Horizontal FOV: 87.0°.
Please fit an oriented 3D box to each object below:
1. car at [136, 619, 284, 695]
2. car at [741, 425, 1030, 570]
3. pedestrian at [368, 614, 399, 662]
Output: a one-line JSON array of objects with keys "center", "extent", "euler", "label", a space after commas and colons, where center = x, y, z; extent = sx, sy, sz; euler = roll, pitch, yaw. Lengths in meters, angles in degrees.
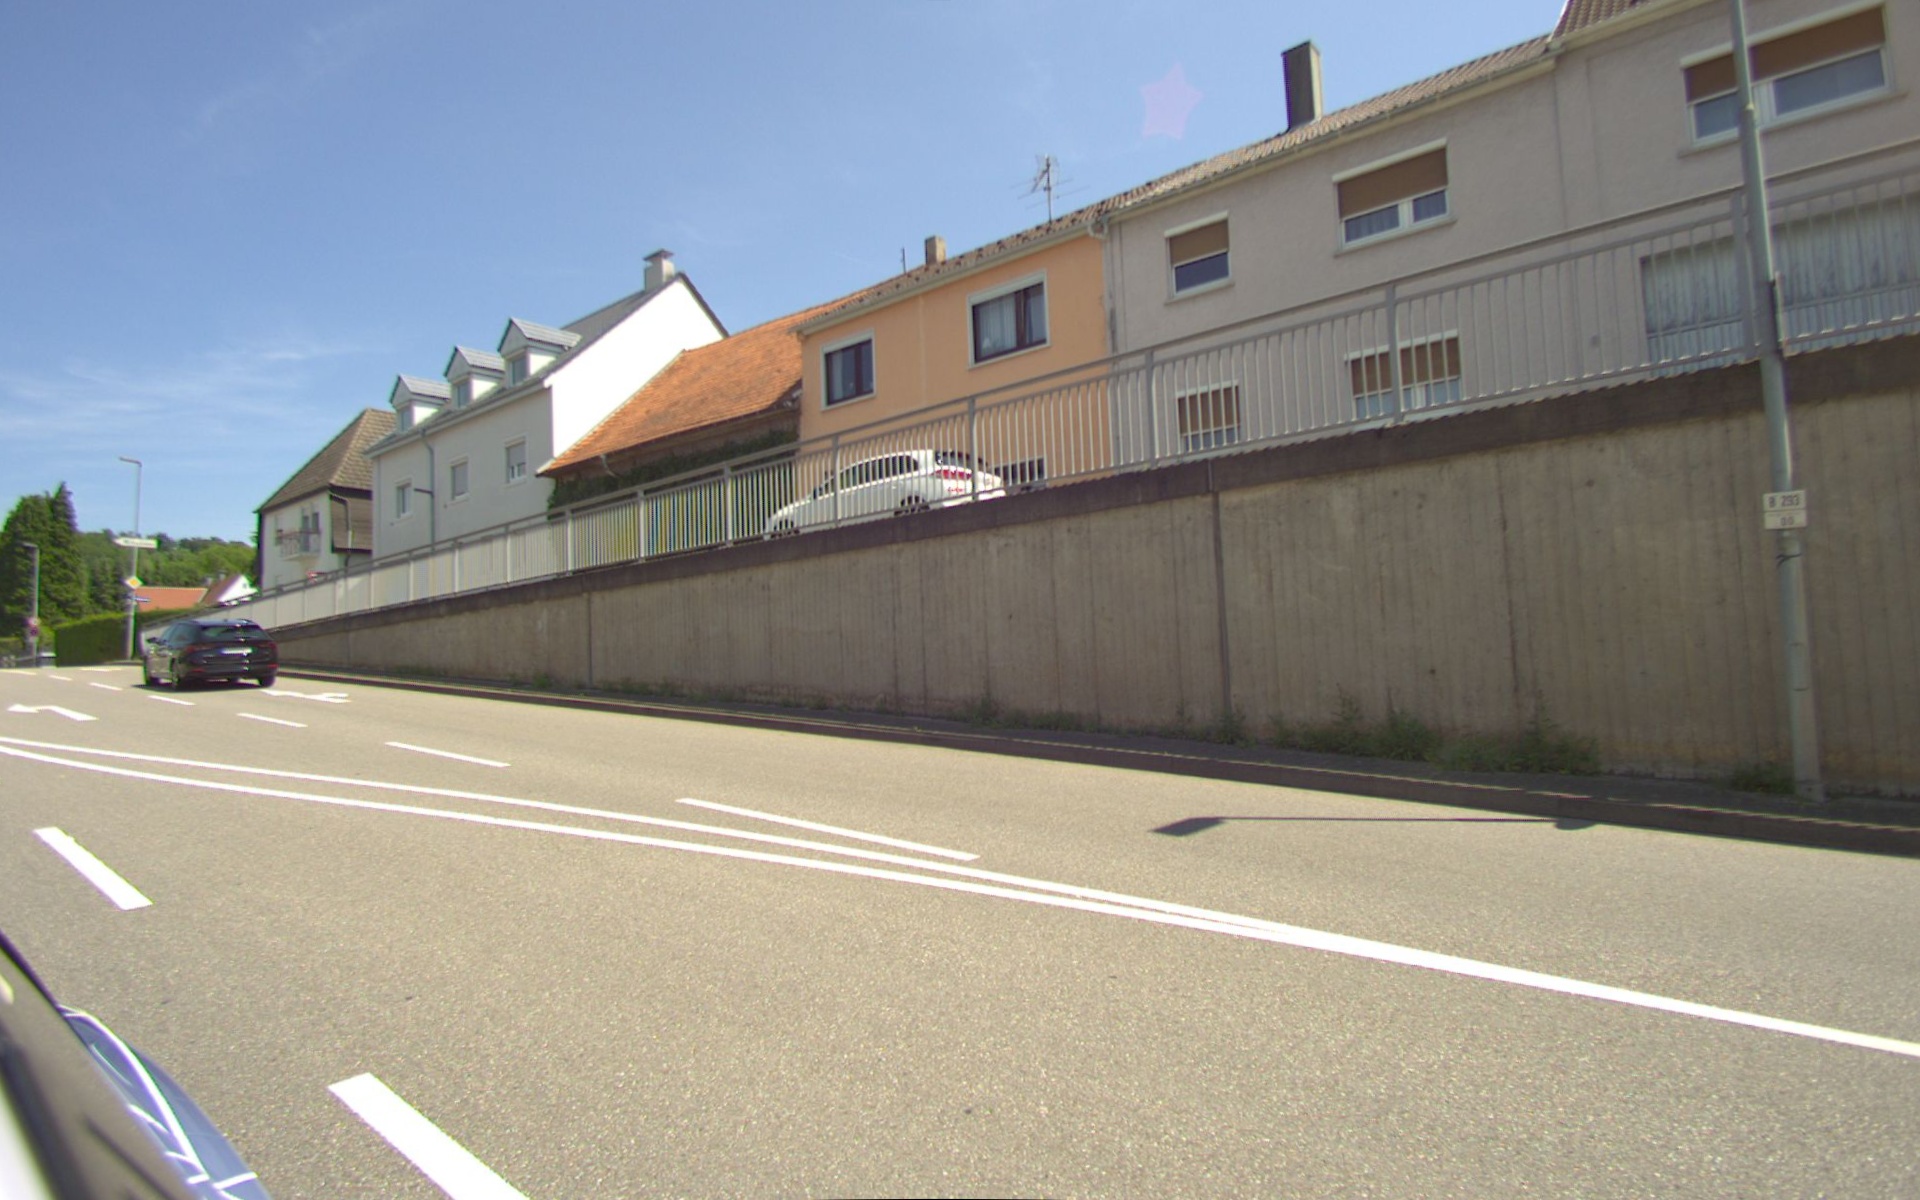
[{"center": [-16.490, 1.190, 22.186], "extent": [4.366, 1.500, 1.742], "euler": [-2, -1, 41], "label": "car"}, {"center": [-1.235, -1.430, 15.544], "extent": [4.303, 1.473, 1.796], "euler": [-6, -4, 38], "label": "car"}, {"center": [-21.295, 1.406, 37.370], "extent": [0.855, 1.742, 0.720], "euler": [-2, -2, 37], "label": "pedestrian"}]
